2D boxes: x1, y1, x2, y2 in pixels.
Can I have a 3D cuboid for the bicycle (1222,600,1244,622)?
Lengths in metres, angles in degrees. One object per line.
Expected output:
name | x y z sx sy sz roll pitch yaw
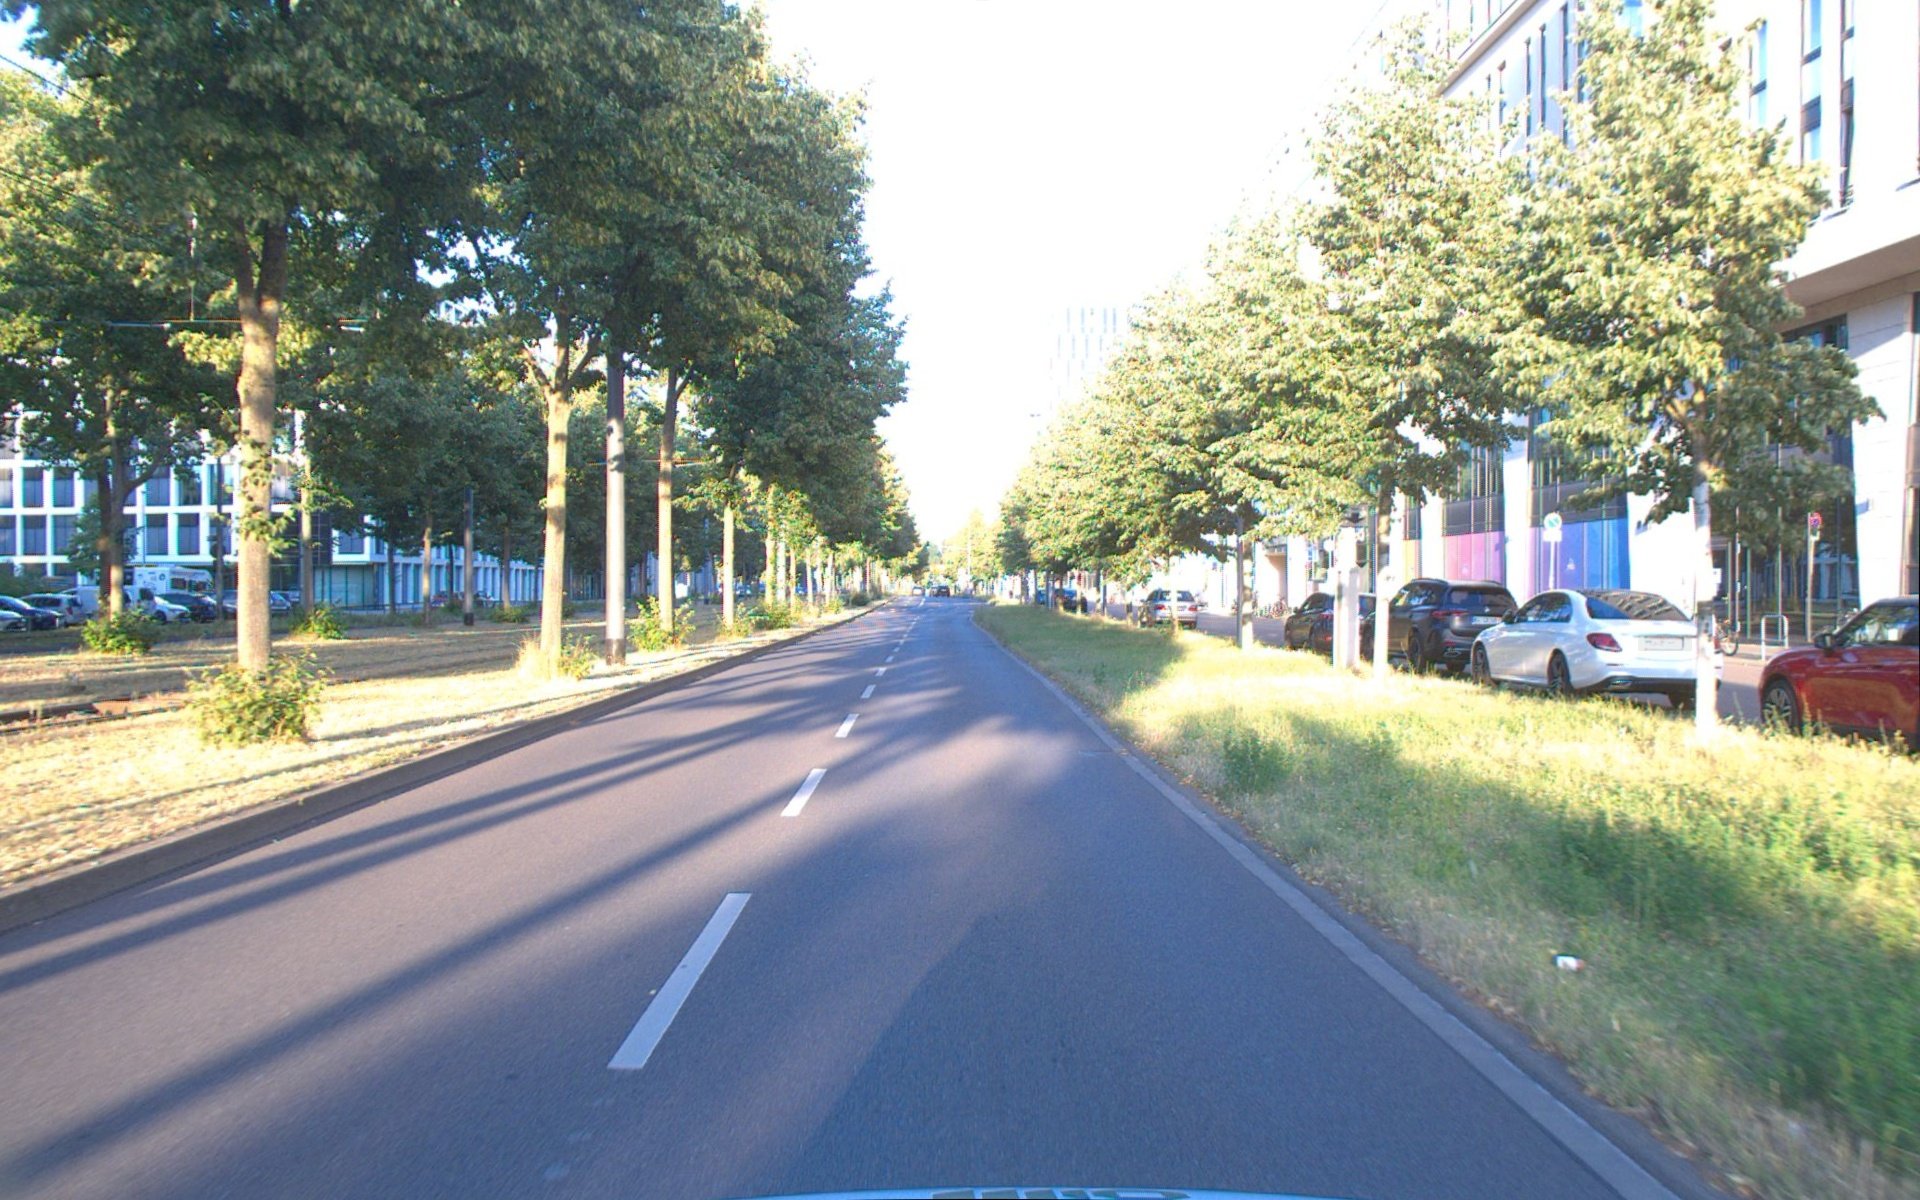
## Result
bicycle | 13.971 0.552 84.611 0.523 1.079 1.776 -2 0 -10

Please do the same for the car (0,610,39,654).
car | -38.313 1.249 64.308 3.905 1.668 1.922 0 0 0

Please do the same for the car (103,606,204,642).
car | -38.380 1.142 78.763 3.902 1.668 1.923 0 0 6

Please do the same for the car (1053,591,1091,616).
car | 7.216 0.246 107.287 1.905 1.576 4.809 0 0 -3

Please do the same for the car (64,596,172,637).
car | -38.743 0.753 76.164 3.905 1.877 2.012 0 0 -1

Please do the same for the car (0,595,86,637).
car | -38.038 0.651 67.316 3.908 1.668 1.920 0 0 -4

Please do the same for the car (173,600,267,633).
car | -37.594 0.833 84.119 3.908 1.668 1.920 0 0 -4

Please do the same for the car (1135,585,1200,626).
car | 7.906 0.184 63.389 1.772 1.527 4.824 0 0 -2

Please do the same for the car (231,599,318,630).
car | -36.804 0.767 88.914 3.908 1.668 1.920 0 0 -4

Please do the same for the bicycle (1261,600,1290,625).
bicycle | 14.112 0.536 73.942 0.524 1.079 1.850 -2 0 -13

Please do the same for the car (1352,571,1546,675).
car | 8.610 0.370 29.597 1.914 1.652 4.819 2 0 -2

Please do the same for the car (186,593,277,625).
car | -37.997 0.453 86.349 3.908 1.668 1.920 0 0 -4

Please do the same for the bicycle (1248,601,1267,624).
bicycle | 14.587 0.593 81.181 0.522 1.079 1.857 -2 0 -1

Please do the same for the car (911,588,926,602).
car | -5.837 -0.712 231.418 2.045 2.049 3.999 0 0 -2

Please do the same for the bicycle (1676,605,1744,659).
bicycle | 15.408 0.647 34.009 0.523 1.078 1.610 0 0 -6

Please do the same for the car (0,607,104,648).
car | -38.638 1.149 69.937 3.908 1.668 1.920 0 0 -4

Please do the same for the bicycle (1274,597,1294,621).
bicycle | 14.671 0.398 74.912 0.522 1.079 1.857 -2 0 -1

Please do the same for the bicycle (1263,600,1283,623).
bicycle | 15.145 0.567 80.039 0.522 1.079 1.857 -2 0 -1

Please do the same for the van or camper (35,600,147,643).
van or camper | -38.349 0.923 73.084 3.916 1.822 1.995 0 0 -11

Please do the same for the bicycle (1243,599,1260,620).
bicycle | 14.737 0.482 83.682 0.522 1.079 1.857 0 0 -1

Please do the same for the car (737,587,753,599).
car | -26.361 -0.848 202.856 1.797 1.516 3.504 0 0 -5

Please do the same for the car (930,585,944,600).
car | -3.206 -1.030 235.260 1.953 2.049 4.000 1 0 0

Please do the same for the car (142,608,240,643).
car | -37.793 1.222 81.336 3.908 1.668 1.920 0 0 -4

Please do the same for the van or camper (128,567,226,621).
van or camper | -46.602 -0.356 98.631 2.654 3.139 6.264 0 0 3

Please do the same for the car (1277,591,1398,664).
car | 8.398 0.575 37.100 1.689 1.527 4.232 1 0 -1

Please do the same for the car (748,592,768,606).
car | -23.002 -0.101 188.665 1.847 1.605 4.181 0 0 -2

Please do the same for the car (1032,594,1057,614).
car | 6.767 0.355 133.301 1.689 1.556 4.267 1 0 -1

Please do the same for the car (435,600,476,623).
car | -36.205 0.834 118.744 1.822 1.609 3.492 0 0 0

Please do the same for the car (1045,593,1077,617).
car | 6.934 0.353 114.238 1.817 1.556 4.481 1 0 -1

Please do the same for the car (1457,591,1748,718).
car | 8.493 0.638 22.406 1.882 1.527 5.008 0 0 -2

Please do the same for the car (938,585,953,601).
car | -1.904 -0.959 216.442 1.953 2.049 3.999 0 0 -2

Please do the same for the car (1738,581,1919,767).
car | 8.741 0.604 14.644 1.772 1.527 3.958 0 0 -2
